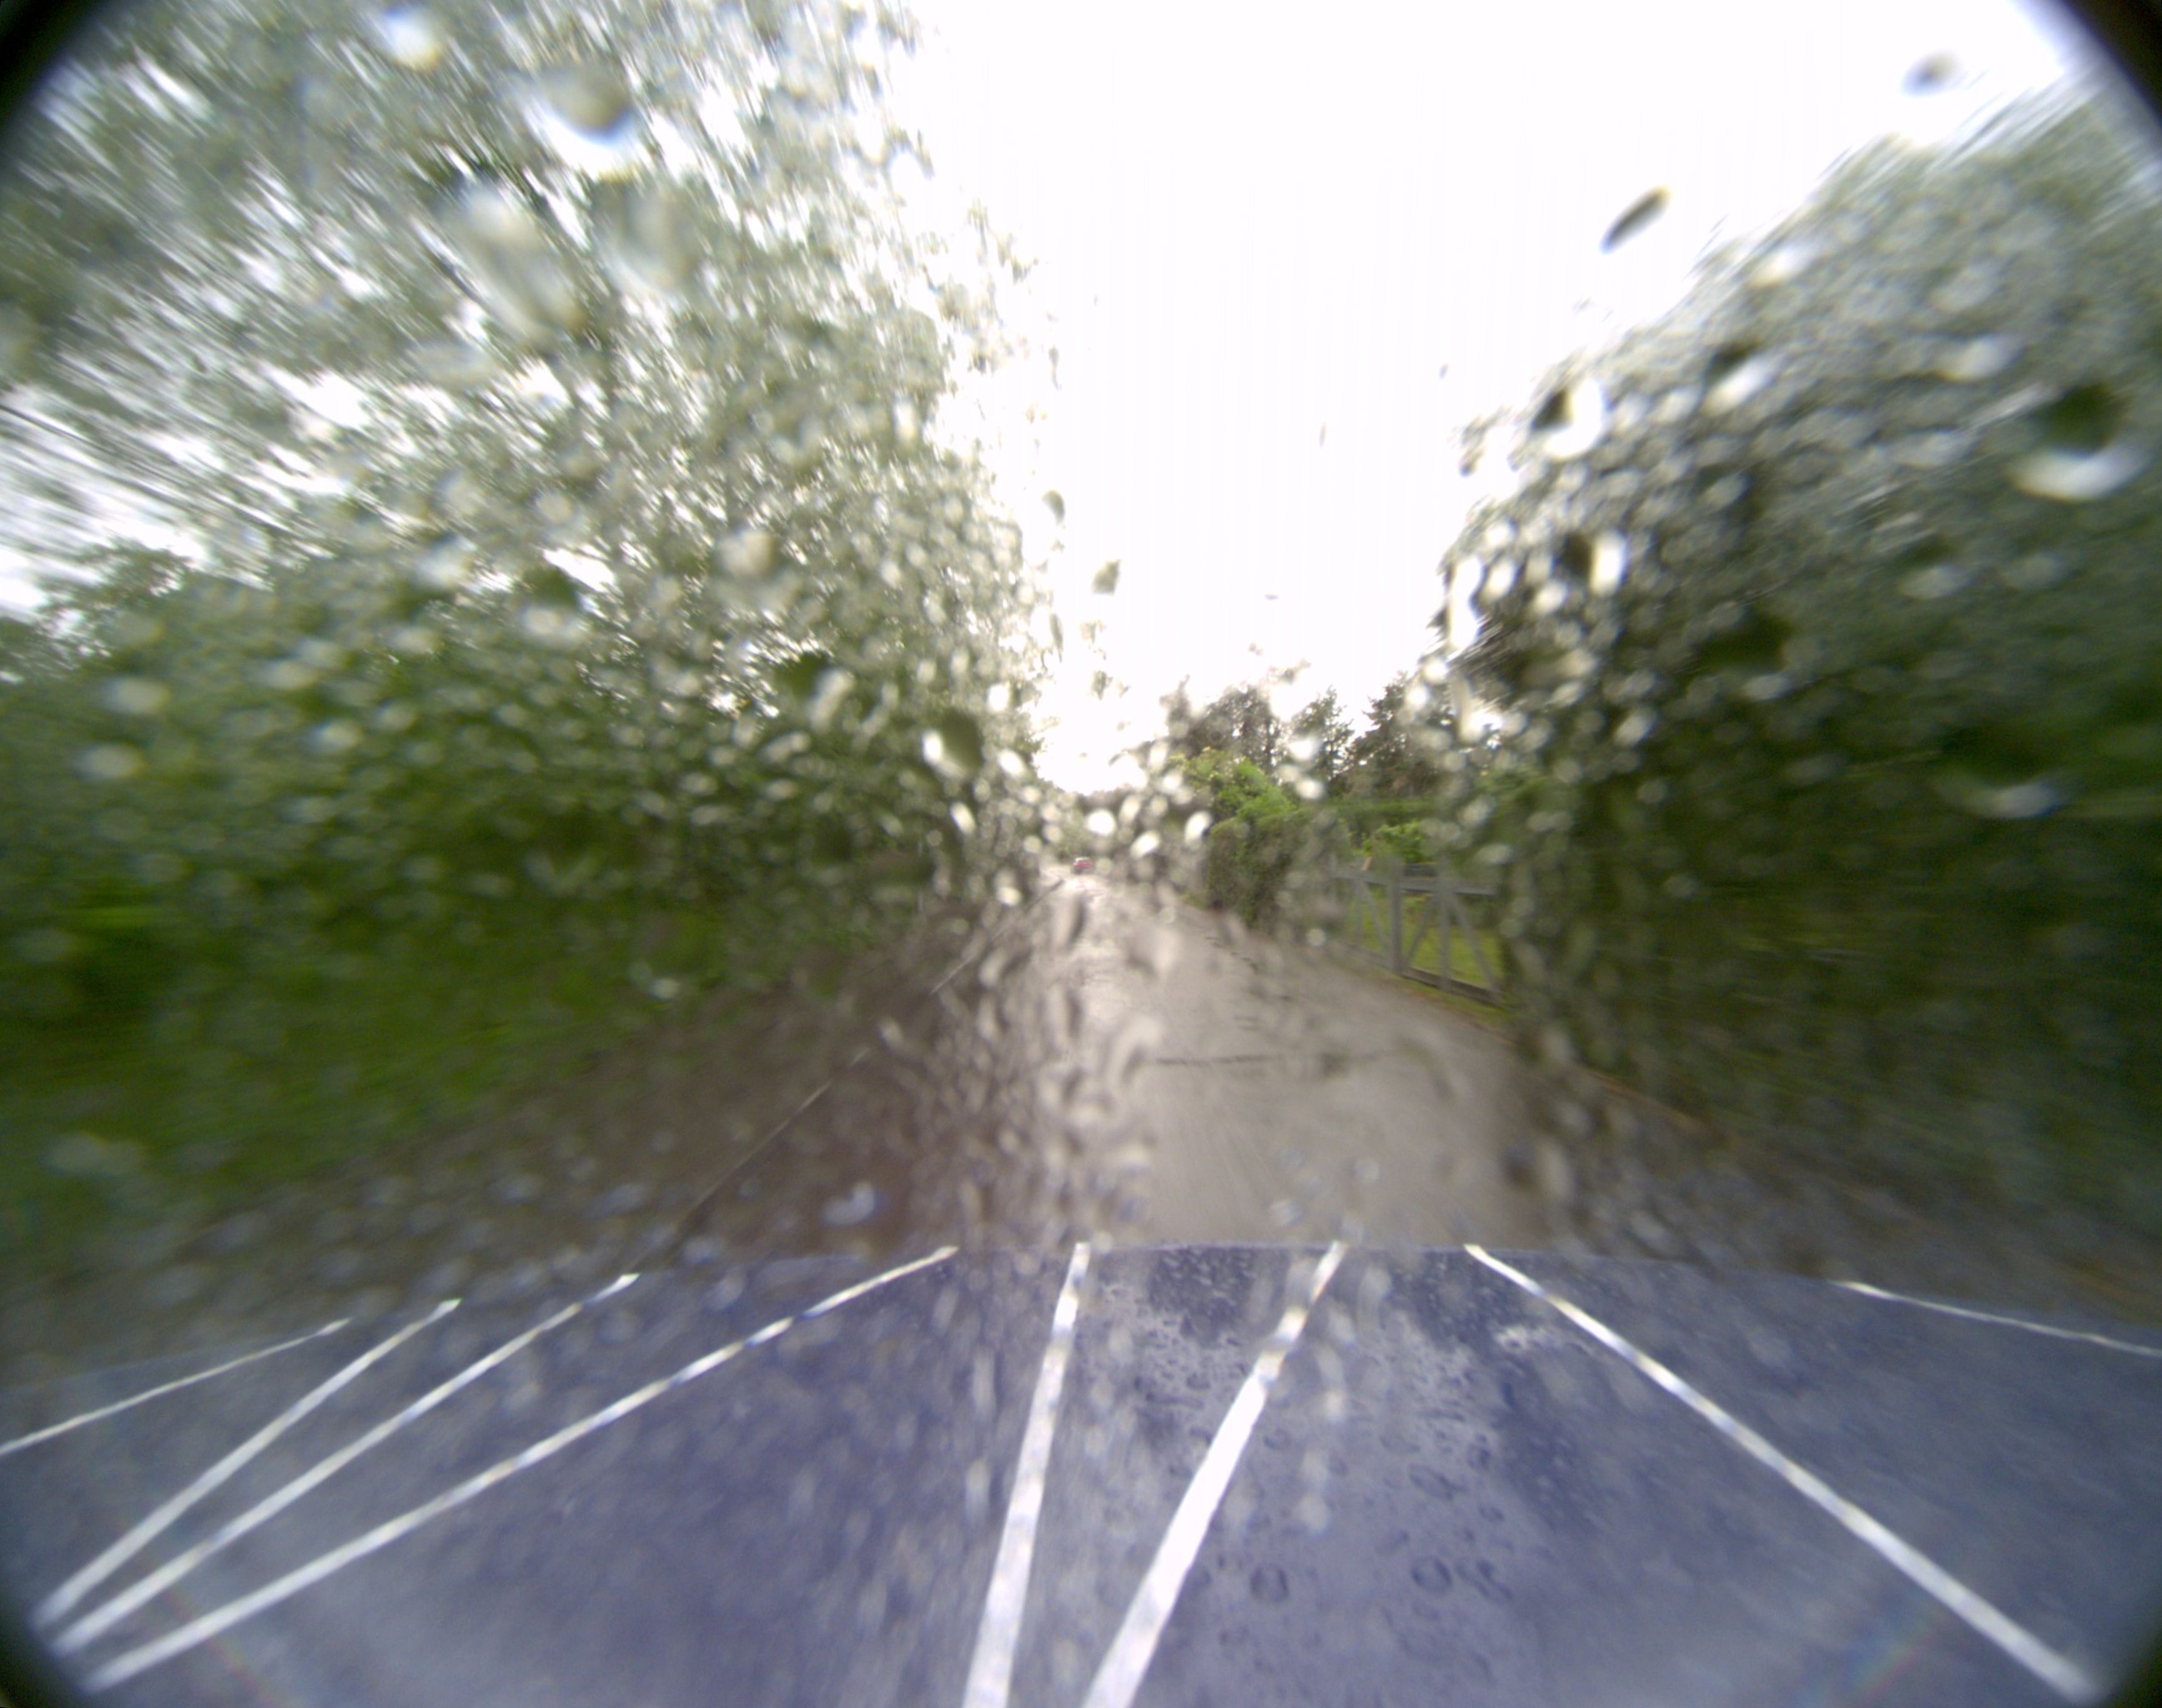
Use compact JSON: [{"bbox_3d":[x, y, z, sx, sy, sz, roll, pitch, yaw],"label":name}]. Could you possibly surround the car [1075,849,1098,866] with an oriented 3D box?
[{"bbox_3d":[0.512,0.286,73.021,1.894,1.514,4.419,-1,1,-3],"label":"car"}]
